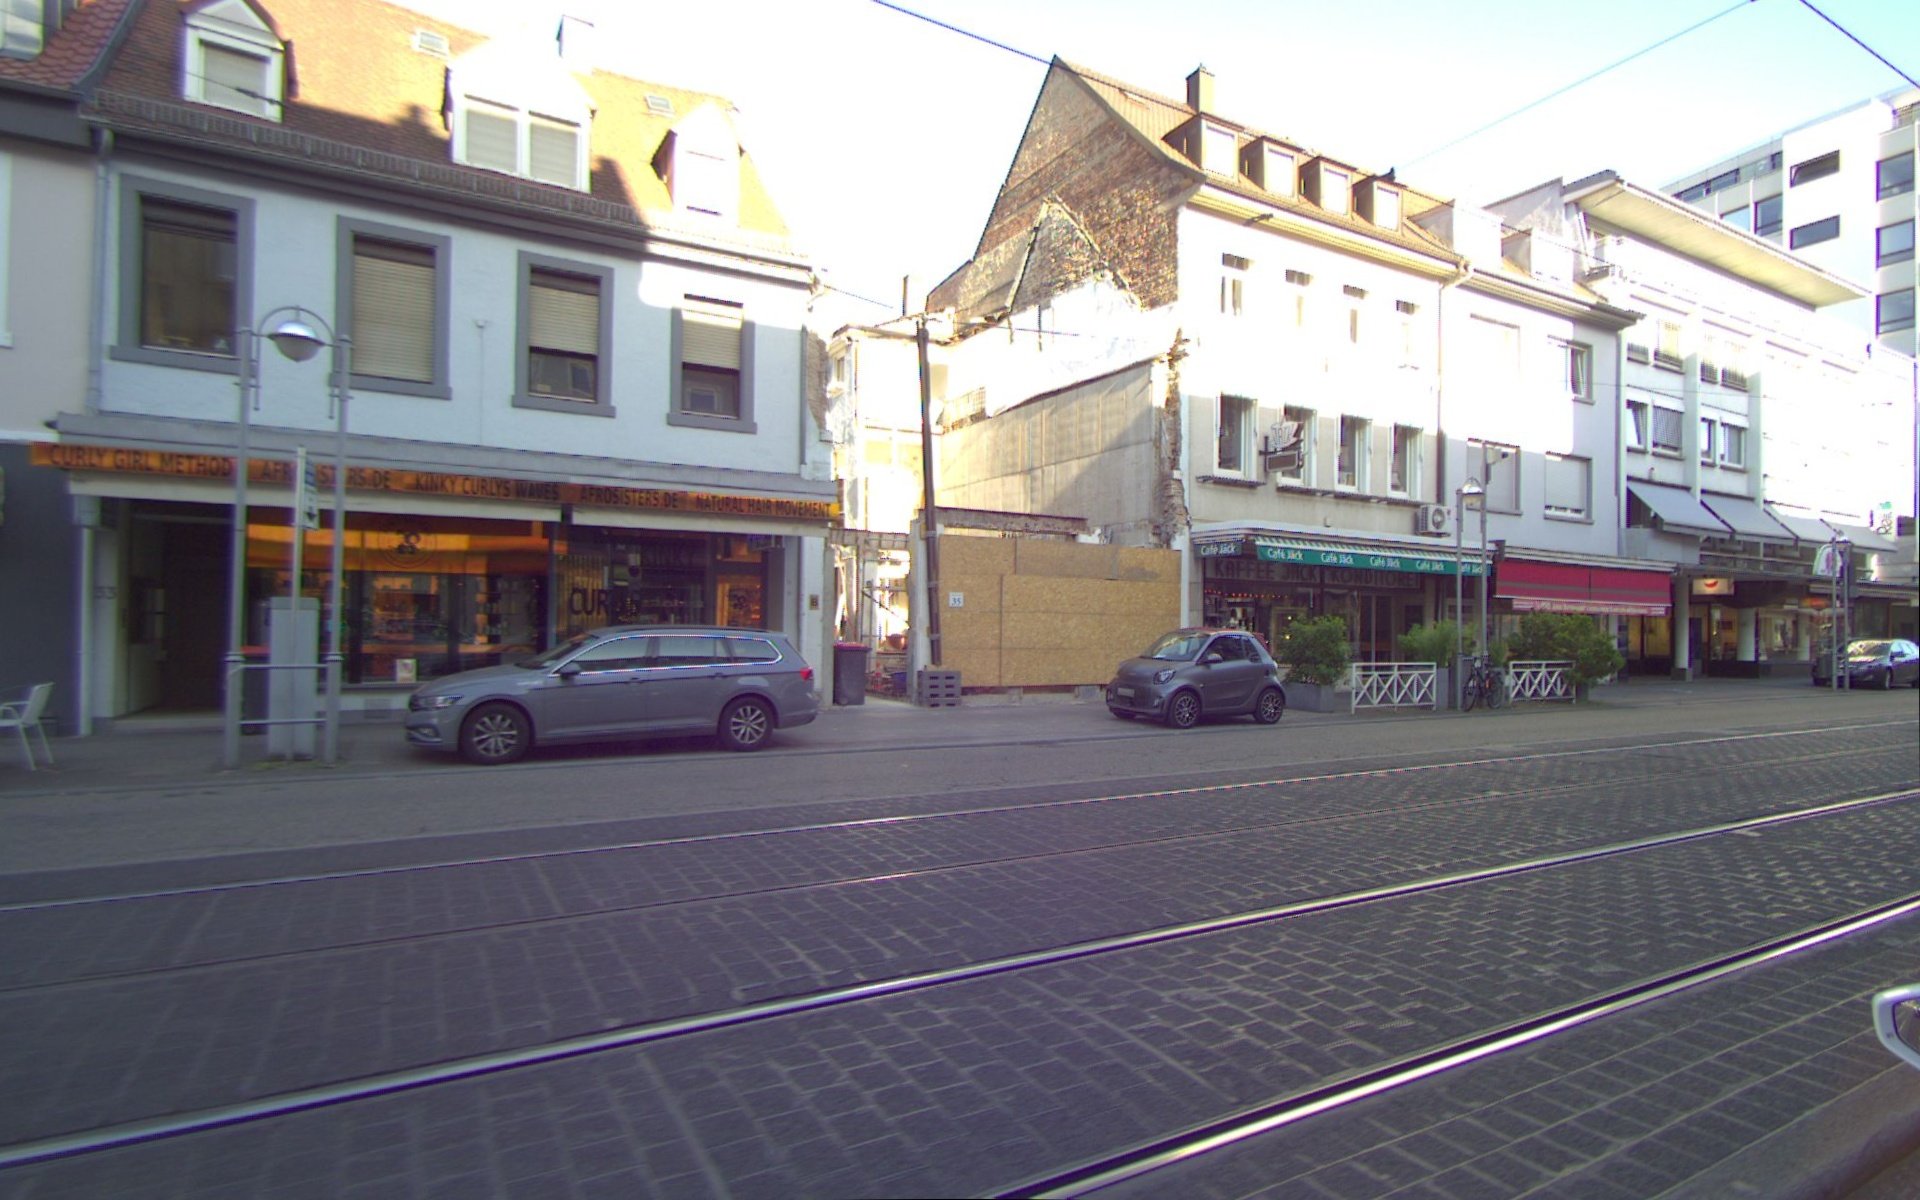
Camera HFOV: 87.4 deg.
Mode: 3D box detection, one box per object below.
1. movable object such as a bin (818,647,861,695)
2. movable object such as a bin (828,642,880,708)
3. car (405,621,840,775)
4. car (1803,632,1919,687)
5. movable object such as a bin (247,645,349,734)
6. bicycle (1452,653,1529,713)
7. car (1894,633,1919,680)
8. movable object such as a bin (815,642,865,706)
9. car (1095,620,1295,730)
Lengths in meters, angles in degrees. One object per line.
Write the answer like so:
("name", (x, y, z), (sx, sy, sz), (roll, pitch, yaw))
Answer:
("movable object such as a bin", (-2.375, 1.394, 19.800), (0.637, 0.894, 0.596), (2, 0, -30))
("movable object such as a bin", (-1.871, 1.311, 17.685), (0.689, 1.108, 0.657), (2, 0, -30))
("car", (-3.989, 1.066, 12.134), (4.707, 1.534, 1.808), (2, -1, -30))
("car", (28.499, 1.832, 31.382), (4.794, 1.544, 1.729), (2, 0, -30))
("movable object such as a bin", (-8.449, 1.121, 12.859), (1.018, 1.077, 0.697), (1, -1, -30))
("bicycle", (10.528, 1.625, 19.917), (1.696, 1.105, 0.516), (2, 0, -30))
("car", (33.486, 1.933, 34.203), (3.551, 1.544, 1.591), (2, 0, -33))
("movable object such as a bin", (-2.212, 1.348, 18.450), (0.689, 1.108, 0.657), (2, 0, -30))
("car", (3.916, 1.201, 16.733), (2.857, 1.625, 1.689), (2, 0, -30))
